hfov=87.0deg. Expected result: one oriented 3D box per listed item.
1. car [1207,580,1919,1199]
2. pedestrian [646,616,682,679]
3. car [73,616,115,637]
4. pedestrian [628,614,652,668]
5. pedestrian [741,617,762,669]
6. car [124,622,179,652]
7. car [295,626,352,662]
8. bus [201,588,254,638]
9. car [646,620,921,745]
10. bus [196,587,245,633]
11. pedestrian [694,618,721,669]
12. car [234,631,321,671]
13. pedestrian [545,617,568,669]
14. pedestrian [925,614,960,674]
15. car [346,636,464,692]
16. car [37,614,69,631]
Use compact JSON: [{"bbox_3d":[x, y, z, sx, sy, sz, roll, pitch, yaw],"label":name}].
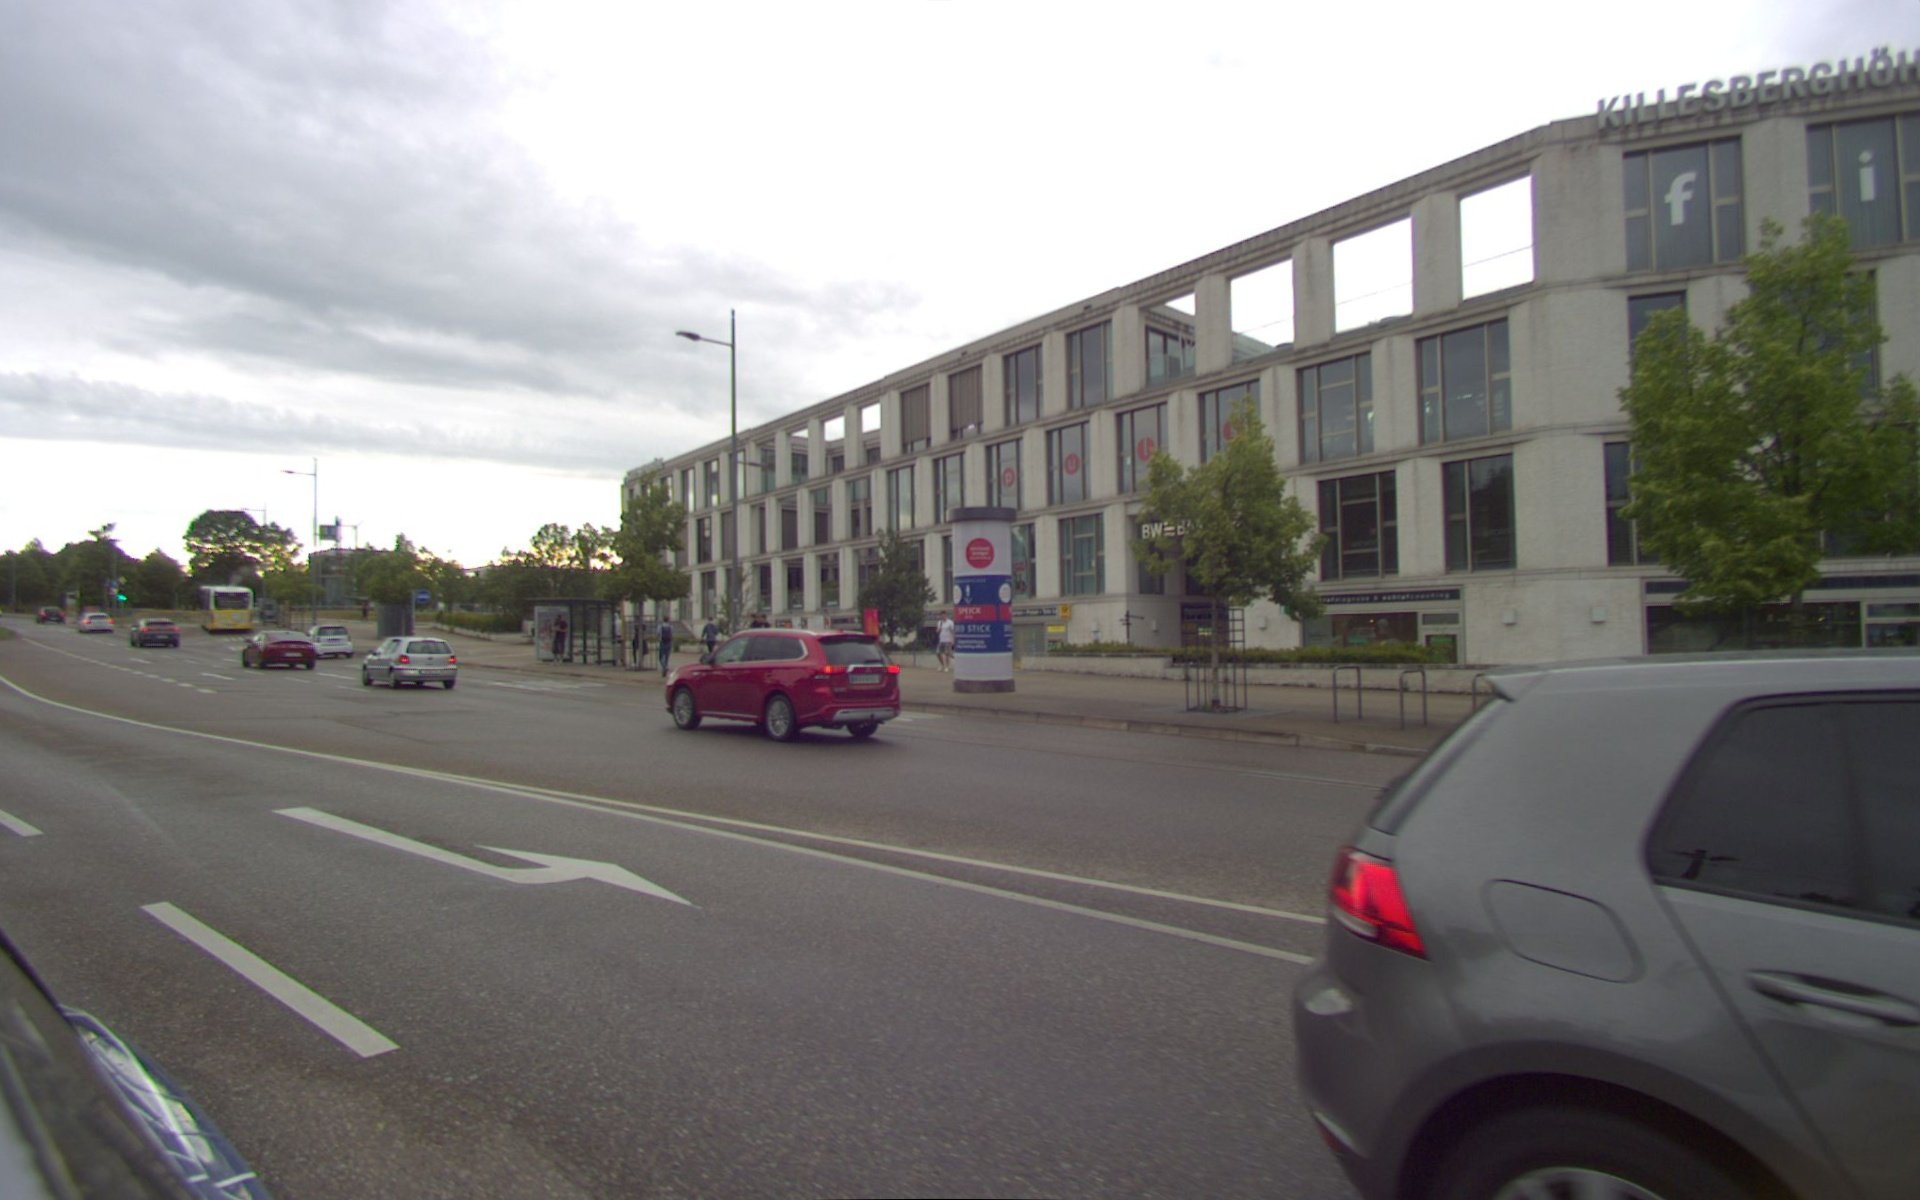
[{"bbox_3d":[2.673,0.720,1.409,4.195,1.441,1.786,-1,-4,41],"label":"car"},{"bbox_3d":[-8.783,1.393,30.029,0.744,1.856,0.747,1,-2,-44],"label":"pedestrian"},{"bbox_3d":[-64.280,1.962,75.106,4.177,1.441,1.852,0,-3,44],"label":"car"},{"bbox_3d":[-11.202,1.434,35.439,0.607,1.870,0.574,-1,-1,41],"label":"pedestrian"},{"bbox_3d":[-7.074,1.454,34.351,0.621,1.738,0.421,-1,-2,44],"label":"pedestrian"},{"bbox_3d":[-46.528,2.100,58.233,4.594,1.584,1.811,0,-3,44],"label":"car"},{"bbox_3d":[-30.003,2.043,47.703,2.973,1.519,1.596,0,0,44],"label":"car"},{"bbox_3d":[-55.061,0.886,76.000,2.786,3.498,8.247,-1,1,-39],"label":"bus"},{"bbox_3d":[-2.934,1.225,16.101,4.738,1.696,1.832,-2,-4,44],"label":"car"},{"bbox_3d":[-60.788,0.748,83.087,2.786,3.498,9.993,-1,1,-39],"label":"bus"},{"bbox_3d":[-8.917,1.526,35.751,0.591,1.775,0.858,1,-1,-44],"label":"pedestrian"},{"bbox_3d":[-26.271,1.941,38.887,4.466,1.427,1.811,-2,-4,44],"label":"car"},{"bbox_3d":[-14.787,1.565,37.124,0.755,1.856,0.502,-1,-1,43],"label":"pedestrian"},{"bbox_3d":[-0.502,1.275,29.539,0.911,1.703,0.494,-1,-1,27],"label":"pedestrian"},{"bbox_3d":[-15.537,1.763,28.272,3.879,1.427,1.743,-2,-4,44],"label":"car"},{"bbox_3d":[-82.602,2.081,92.160,3.868,1.473,1.826,0,-2,44],"label":"car"}]
